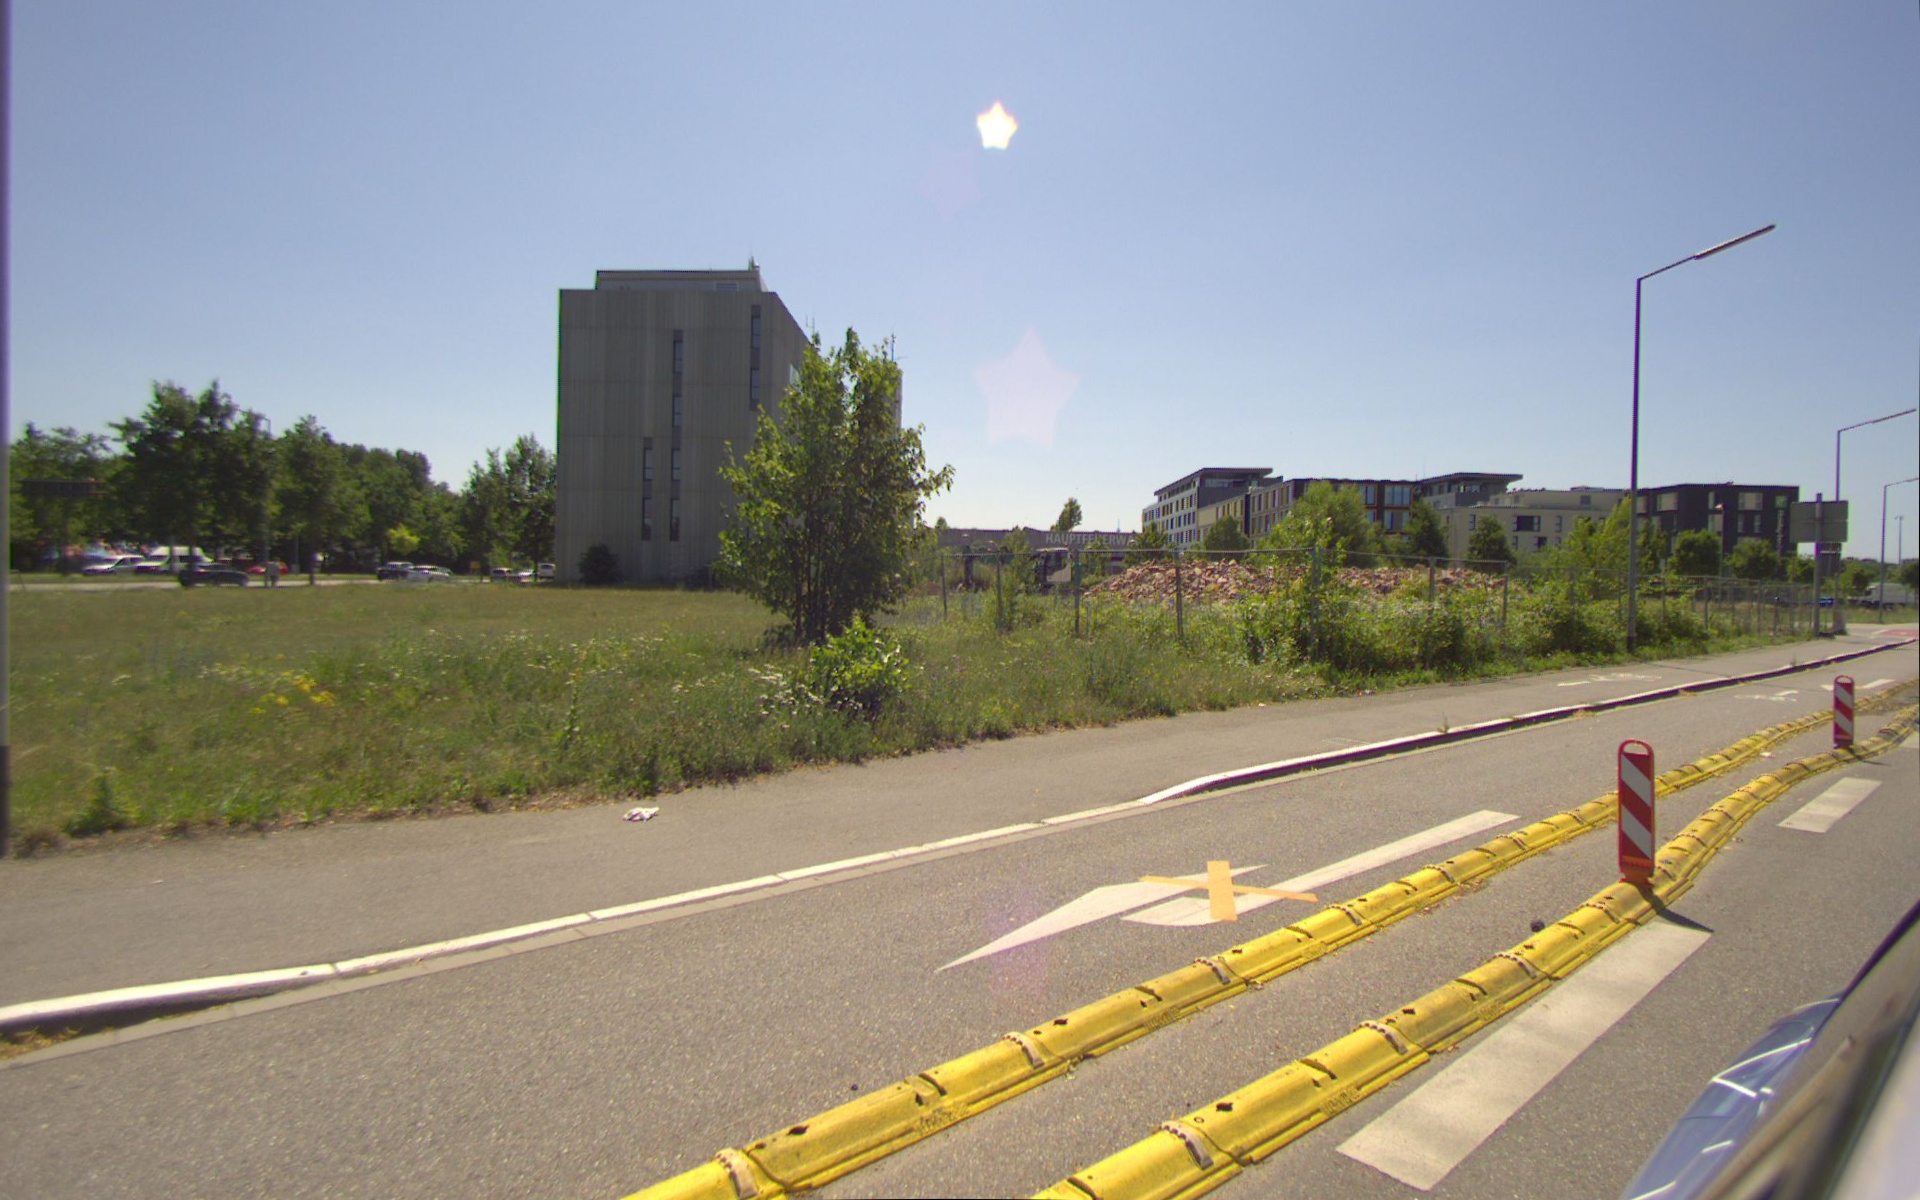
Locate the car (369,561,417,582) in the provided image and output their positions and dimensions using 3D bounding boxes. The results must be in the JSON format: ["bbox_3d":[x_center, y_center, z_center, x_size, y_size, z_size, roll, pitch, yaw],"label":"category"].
[{"bbox_3d":[-58.057,-2.874,103.704,1.963,2.039,5.083,0,1,2],"label":"car"}]

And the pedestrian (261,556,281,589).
[{"bbox_3d":[-33.857,-1.335,49.719,0.489,1.583,0.737,0,0,-1],"label":"pedestrian"}]

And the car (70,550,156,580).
[{"bbox_3d":[-61.882,-2.518,74.077,1.963,2.039,5.083,0,1,2],"label":"car"}]

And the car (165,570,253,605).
[{"bbox_3d":[-44.756,-0.739,60.406,1.969,2.039,3.986,0,1,12],"label":"car"}]

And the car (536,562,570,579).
[{"bbox_3d":[-47.843,-3.451,119.119,1.963,1.873,4.985,0,1,2],"label":"car"}]

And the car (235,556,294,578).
[{"bbox_3d":[-61.779,-2.885,90.004,1.963,1.873,4.603,0,1,2],"label":"car"}]

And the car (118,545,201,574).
[{"bbox_3d":[-58.946,-2.959,74.655,1.963,2.039,5.083,0,1,2],"label":"car"}]

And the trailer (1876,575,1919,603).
[{"bbox_3d":[119.660,-1.369,126.408,8.030,3.390,1.998,1,1,4],"label":"trailer"}]

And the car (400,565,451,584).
[{"bbox_3d":[-42.218,-2.003,80.012,1.604,1.462,4.015,0,1,6],"label":"car"}]

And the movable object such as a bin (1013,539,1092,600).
[{"bbox_3d":[4.933,-1.597,53.953,3.619,3.101,2.207,0,1,-35],"label":"movable object such as a bin"}]

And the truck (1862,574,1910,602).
[{"bbox_3d":[115.864,-1.489,126.705,3.928,3.377,1.998,1,1,4],"label":"truck"}]

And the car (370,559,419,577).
[{"bbox_3d":[-47.270,-2.654,84.703,1.961,1.425,4.001,0,1,-1],"label":"car"}]

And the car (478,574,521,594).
[{"bbox_3d":[-42.679,-1.489,94.000,1.961,1.727,4.942,0,1,-3],"label":"car"}]
